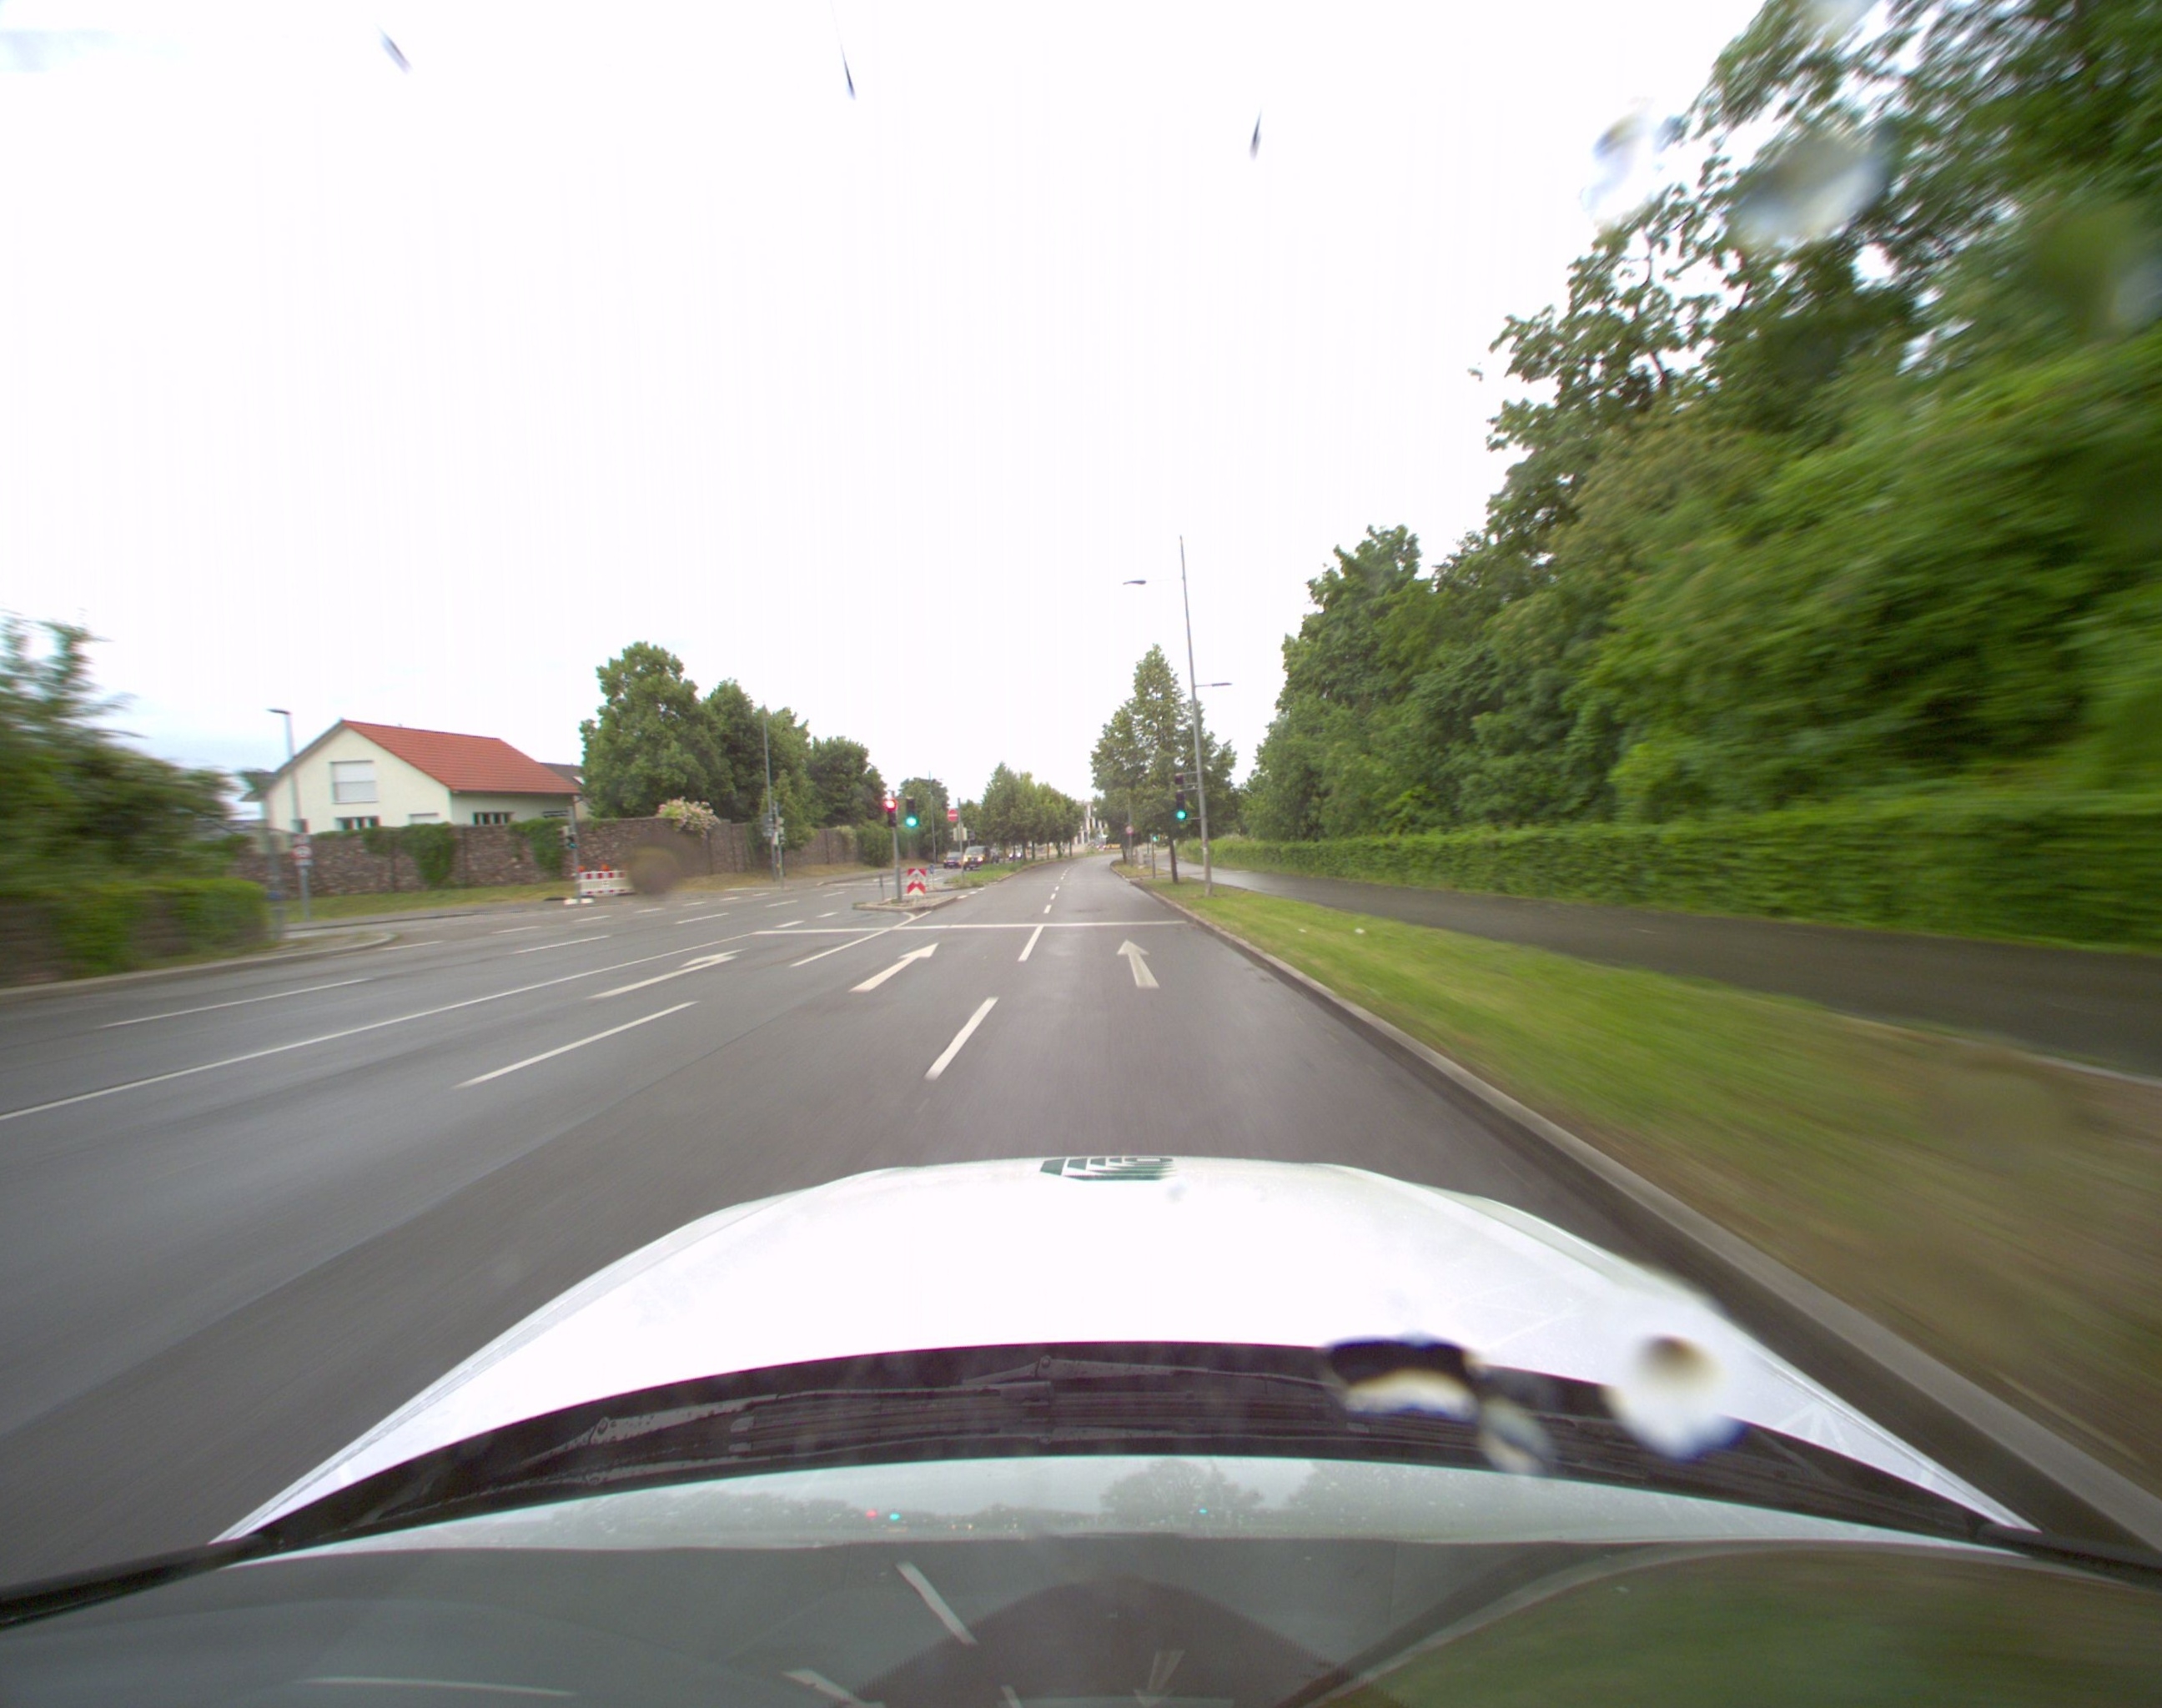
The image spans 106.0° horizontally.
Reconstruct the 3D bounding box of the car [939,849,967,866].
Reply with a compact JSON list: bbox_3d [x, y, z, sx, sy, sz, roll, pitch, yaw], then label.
[{"bbox_3d":[-11.742,0.292,74.963,1.591,1.489,4.005,-1,0,4],"label":"car"}]

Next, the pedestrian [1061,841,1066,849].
[{"bbox_3d":[-3.460,-1.738,158.758,0.832,1.573,0.718,-1,-1,-5],"label":"pedestrian"}]

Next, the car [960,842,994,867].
[{"bbox_3d":[-8.670,0.039,68.455,2.006,1.919,5.098,-1,0,2],"label":"car"}]

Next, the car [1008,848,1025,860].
[{"bbox_3d":[-8.664,-0.052,109.463,1.678,1.539,2.921,-1,1,5],"label":"car"}]

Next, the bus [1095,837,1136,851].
[{"bbox_3d":[8.912,-2.359,203.782,2.759,3.357,18.336,-2,-1,27],"label":"bus"}]

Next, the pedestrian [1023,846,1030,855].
[{"bbox_3d":[-9.445,-0.570,140.954,0.808,1.621,0.938,-2,-1,13],"label":"pedestrian"}]
